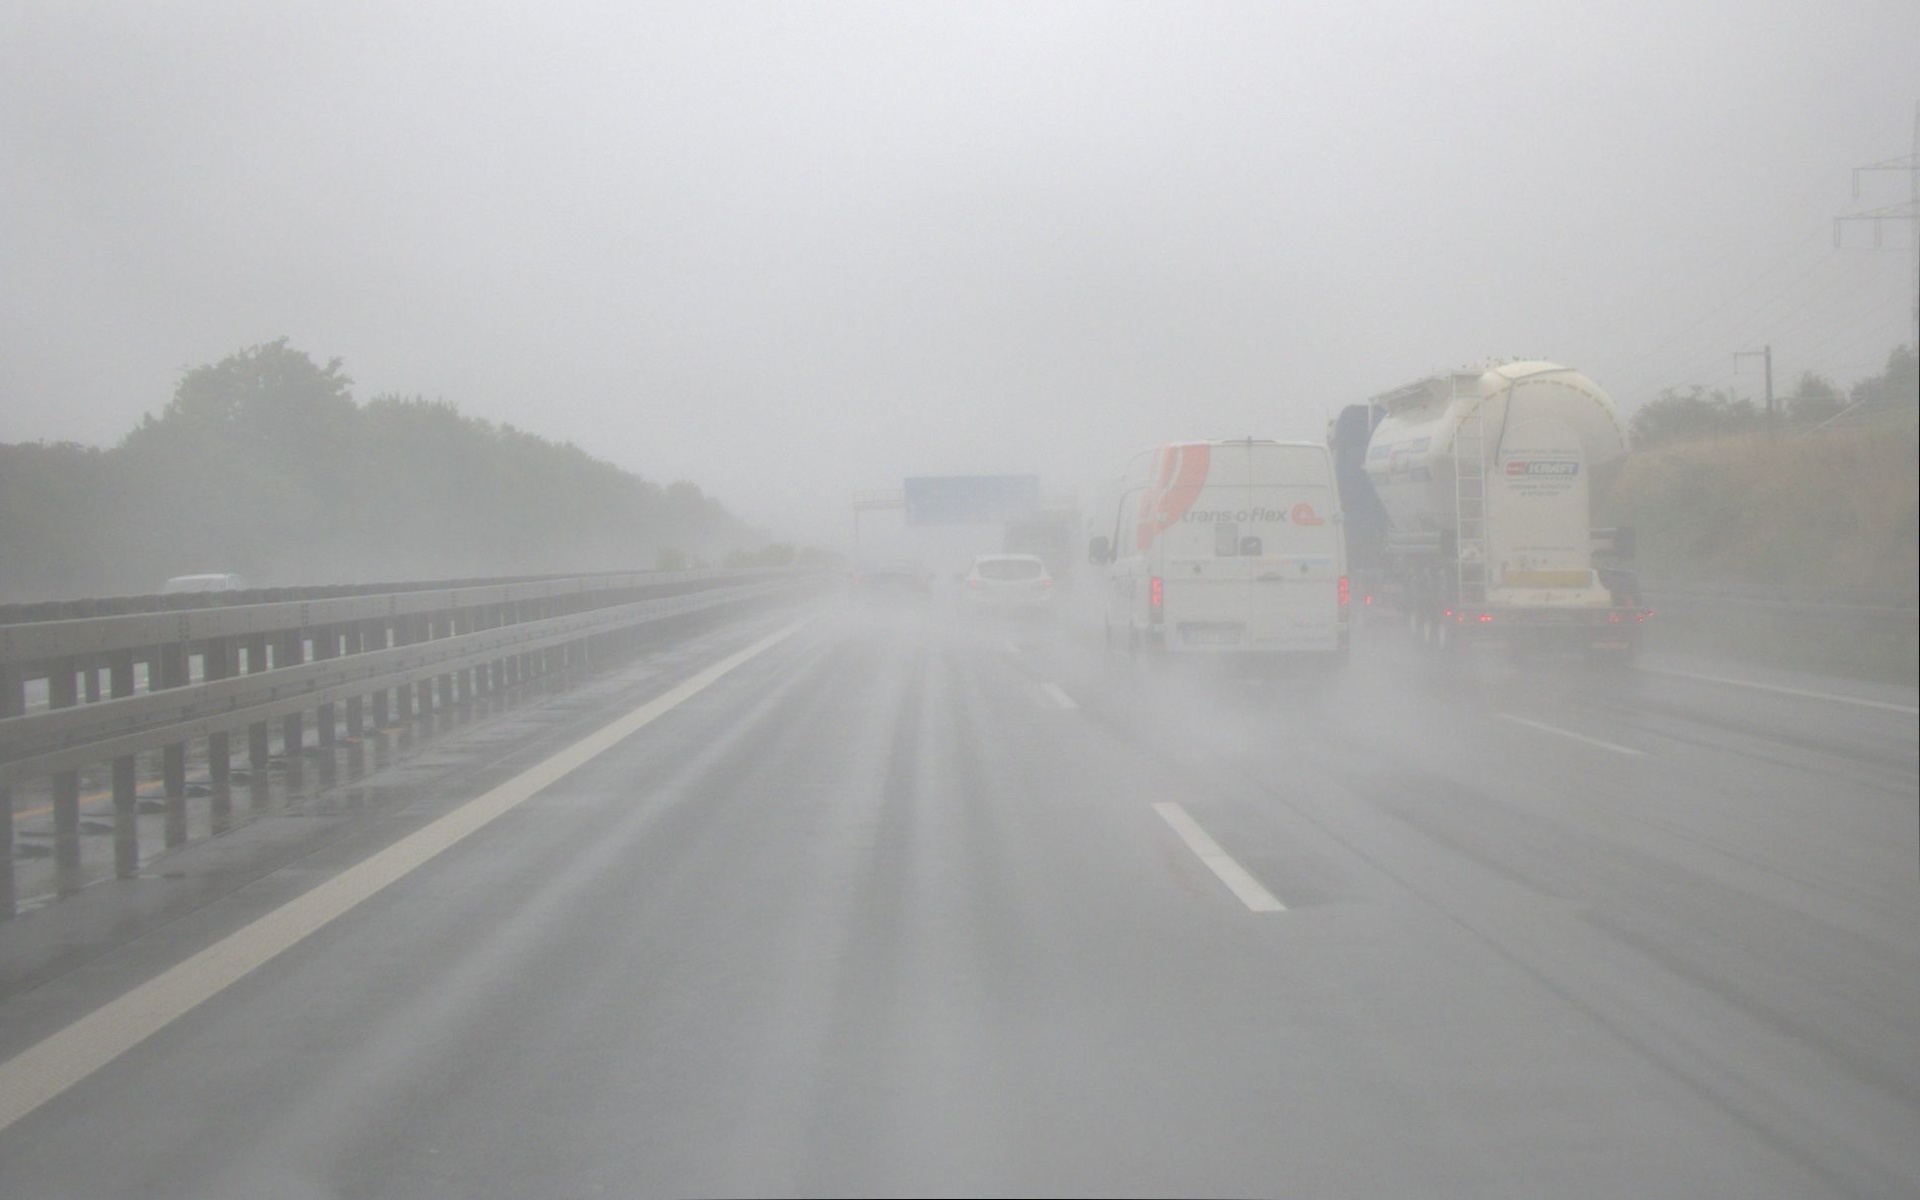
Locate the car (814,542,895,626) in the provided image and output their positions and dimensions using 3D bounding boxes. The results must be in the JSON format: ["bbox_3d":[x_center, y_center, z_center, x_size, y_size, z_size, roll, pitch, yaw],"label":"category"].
[{"bbox_3d":[-2.328,-0.375,76.842,1.702,1.812,3.862,1,1,0],"label":"car"}]

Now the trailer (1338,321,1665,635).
[{"bbox_3d":[7.326,-1.606,48.175,2.497,3.869,11.067,1,1,-2],"label":"trailer"}]

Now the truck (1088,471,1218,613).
[{"bbox_3d":[6.537,-1.881,119.246,3.039,4.572,16.352,1,0,-2],"label":"truck"}]

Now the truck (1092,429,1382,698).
[{"bbox_3d":[2.688,-0.382,34.821,2.419,2.484,5.560,1,1,0],"label":"truck"}]

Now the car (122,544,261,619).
[{"bbox_3d":[-16.260,-0.411,72.963,1.993,1.525,4.655,1,1,-1],"label":"car"}]

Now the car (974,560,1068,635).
[{"bbox_3d":[1.131,-0.069,65.048,1.605,1.333,3.848,1,1,-1],"label":"car"}]

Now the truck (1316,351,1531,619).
[{"bbox_3d":[7.177,-1.755,53.769,2.496,3.970,5.076,1,1,-2],"label":"truck"}]

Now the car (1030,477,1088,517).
[{"bbox_3d":[5.147,-5.370,179.486,2.788,2.007,4.993,1,1,-1],"label":"car"}]
